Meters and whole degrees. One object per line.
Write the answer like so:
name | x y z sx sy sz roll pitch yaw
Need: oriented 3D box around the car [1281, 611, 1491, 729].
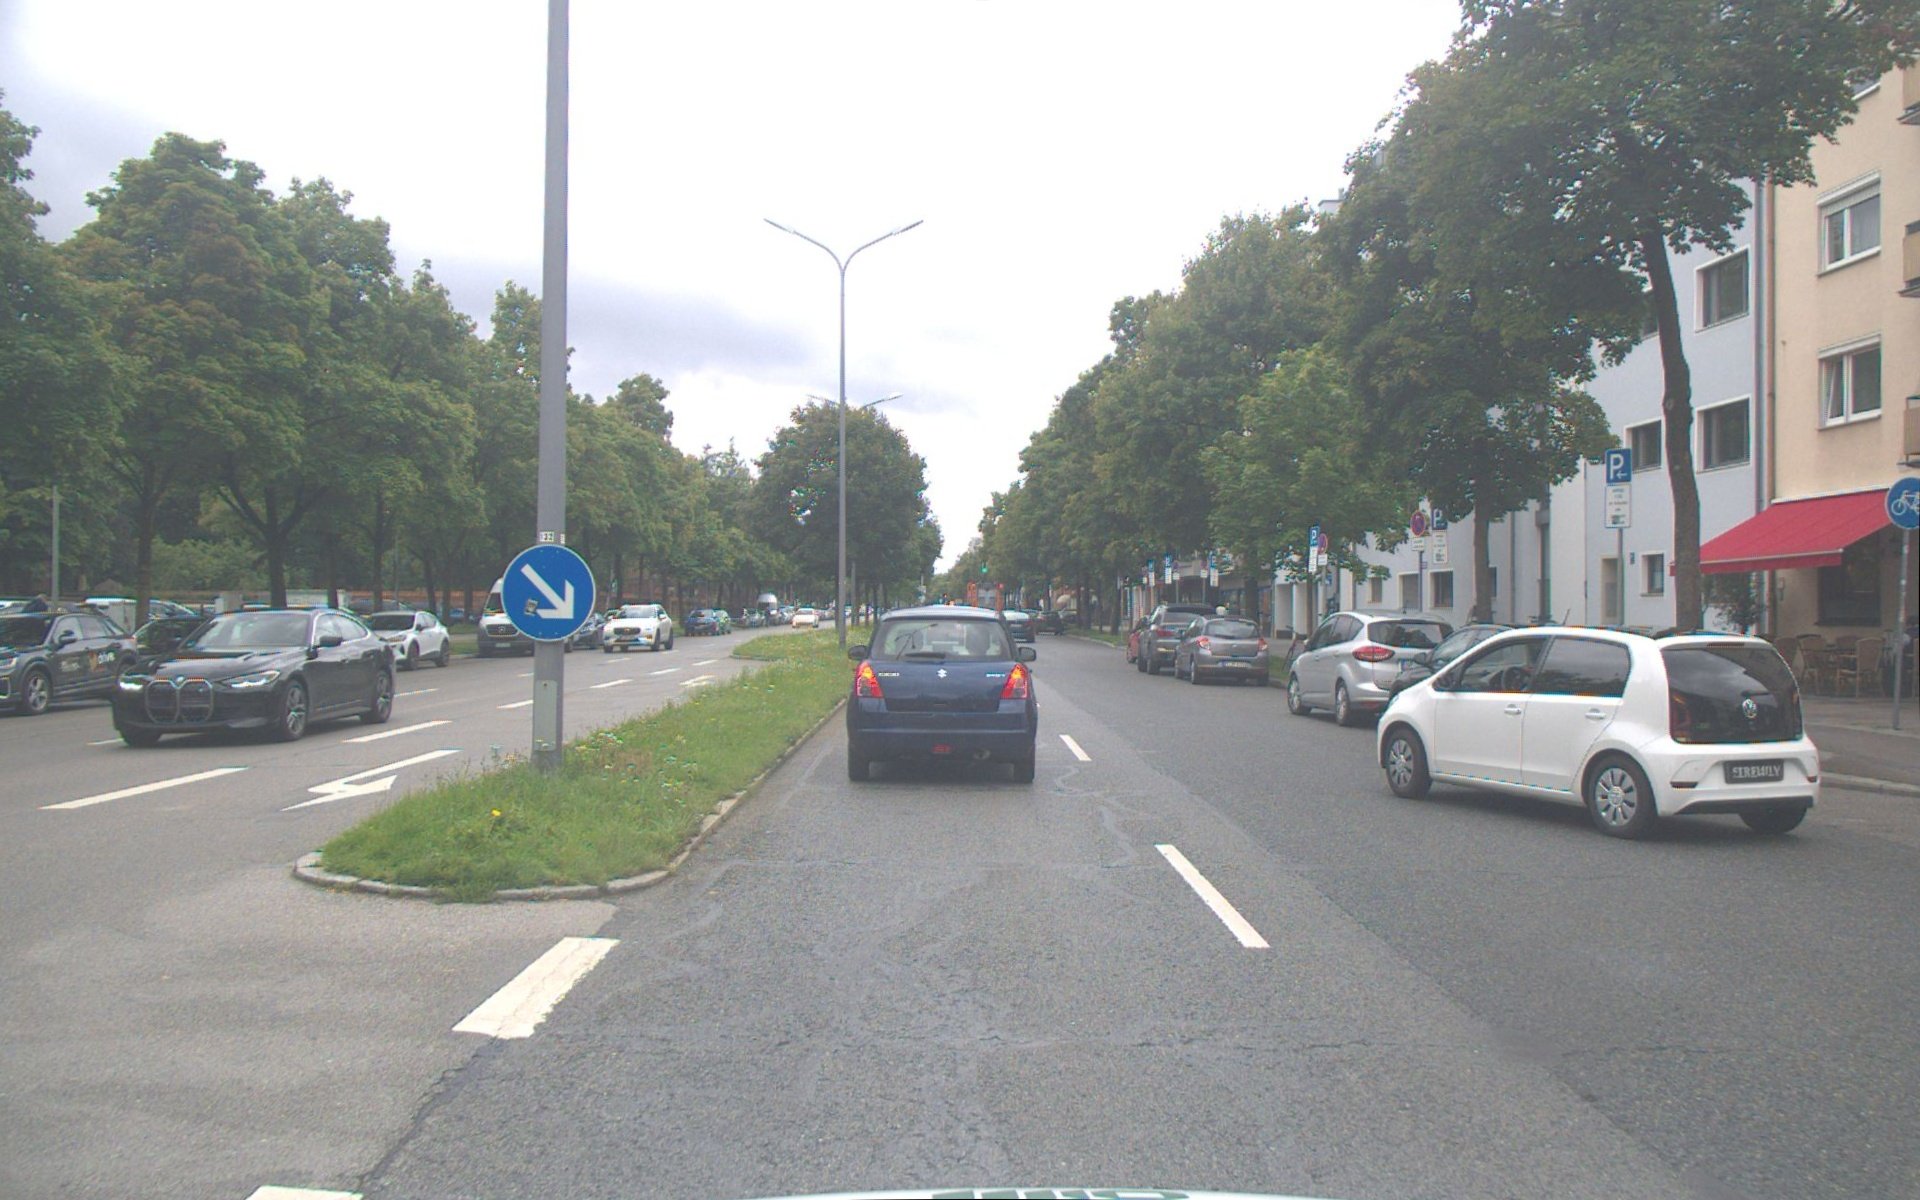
car | 6.114 0.951 24.285 1.792 1.549 4.522 0 0 -2

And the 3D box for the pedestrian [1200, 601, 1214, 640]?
pedestrian | 11.286 0.932 75.594 0.489 1.764 0.732 0 -1 -1

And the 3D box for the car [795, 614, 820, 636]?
car | -11.872 1.936 129.015 1.726 1.564 4.312 -2 0 -3

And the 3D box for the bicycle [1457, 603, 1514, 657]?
bicycle | 14.568 0.804 45.920 0.688 1.432 2.592 -2 0 0

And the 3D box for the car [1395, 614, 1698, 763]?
car | 6.504 0.923 18.823 1.794 1.499 3.883 0 0 -5

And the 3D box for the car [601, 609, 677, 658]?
car | -11.356 1.155 58.842 1.813 1.628 4.402 -2 0 0

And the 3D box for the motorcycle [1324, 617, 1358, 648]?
motorcycle | 13.956 1.172 60.635 0.745 1.105 2.199 0 0 0

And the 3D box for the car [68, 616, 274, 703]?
car | -14.510 1.048 30.667 1.784 1.434 4.001 -2 0 2

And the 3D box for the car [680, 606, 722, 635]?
car | -14.819 1.143 94.932 1.849 1.564 4.312 -2 0 -2

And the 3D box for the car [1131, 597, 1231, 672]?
car | 5.536 0.835 41.930 1.792 1.777 4.506 0 0 -2

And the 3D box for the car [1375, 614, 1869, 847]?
car | 4.936 0.876 12.792 1.663 1.516 3.411 1 0 -23

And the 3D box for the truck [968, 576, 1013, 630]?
truck | 2.126 0.232 119.646 2.979 3.619 13.673 1 0 0

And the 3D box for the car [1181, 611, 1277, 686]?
car | 5.929 1.032 36.790 1.791 1.549 3.773 0 0 5

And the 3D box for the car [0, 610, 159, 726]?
car | -14.228 0.973 25.396 1.784 1.627 4.113 0 0 1

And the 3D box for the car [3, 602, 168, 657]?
car | -25.892 0.858 49.060 3.904 1.598 1.815 0 0 1

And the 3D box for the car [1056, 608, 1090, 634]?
car | 7.445 1.399 109.651 1.953 1.671 4.332 0 0 0

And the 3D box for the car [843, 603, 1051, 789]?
car | -0.096 0.801 15.705 1.717 1.531 4.000 0 0 0

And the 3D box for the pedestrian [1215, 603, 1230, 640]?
pedestrian | 11.975 0.966 75.592 0.537 1.658 0.641 -1 -1 -1

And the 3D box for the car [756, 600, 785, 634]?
car | -17.120 1.499 149.407 2.142 3.005 6.187 1 0 -3

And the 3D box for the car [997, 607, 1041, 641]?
car | 2.770 1.119 78.158 1.784 1.503 4.689 2 0 -1

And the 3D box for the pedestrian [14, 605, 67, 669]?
pedestrian | -21.914 0.870 39.422 0.778 1.521 0.856 0 0 0

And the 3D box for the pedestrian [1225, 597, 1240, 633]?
pedestrian | 12.545 0.696 76.143 0.530 1.669 0.724 0 -1 -1

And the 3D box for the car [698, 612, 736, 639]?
car | -14.716 1.526 100.306 1.605 1.564 4.313 -2 0 -1

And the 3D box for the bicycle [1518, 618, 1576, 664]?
bicycle | 14.750 1.010 41.600 0.609 1.064 2.195 -4 0 0

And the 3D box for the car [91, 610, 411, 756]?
car | -8.077 0.868 19.397 1.779 1.473 4.781 -1 0 -1

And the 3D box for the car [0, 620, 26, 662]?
car | -39.007 1.583 64.788 3.903 1.624 1.771 0 0 4

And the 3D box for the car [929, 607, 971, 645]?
car | -0.443 1.056 69.439 1.683 1.527 4.299 1 0 -1

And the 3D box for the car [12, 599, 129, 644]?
car | -41.978 1.011 78.157 4.414 2.070 1.999 0 0 -1

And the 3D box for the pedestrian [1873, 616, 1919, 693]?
pedestrian | 14.706 0.839 25.649 0.728 1.184 0.646 0 0 -1

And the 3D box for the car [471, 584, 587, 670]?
car | -14.619 0.859 56.583 2.096 2.690 7.104 -1 0 0

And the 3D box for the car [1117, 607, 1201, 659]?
car | 5.826 0.959 48.912 1.493 1.466 3.992 0 0 -8

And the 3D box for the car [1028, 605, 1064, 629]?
car | 5.270 1.047 101.950 1.953 1.477 3.999 0 0 0

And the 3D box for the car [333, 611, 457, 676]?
car | -14.475 1.117 42.602 1.785 1.554 4.297 -1 -1 -2
